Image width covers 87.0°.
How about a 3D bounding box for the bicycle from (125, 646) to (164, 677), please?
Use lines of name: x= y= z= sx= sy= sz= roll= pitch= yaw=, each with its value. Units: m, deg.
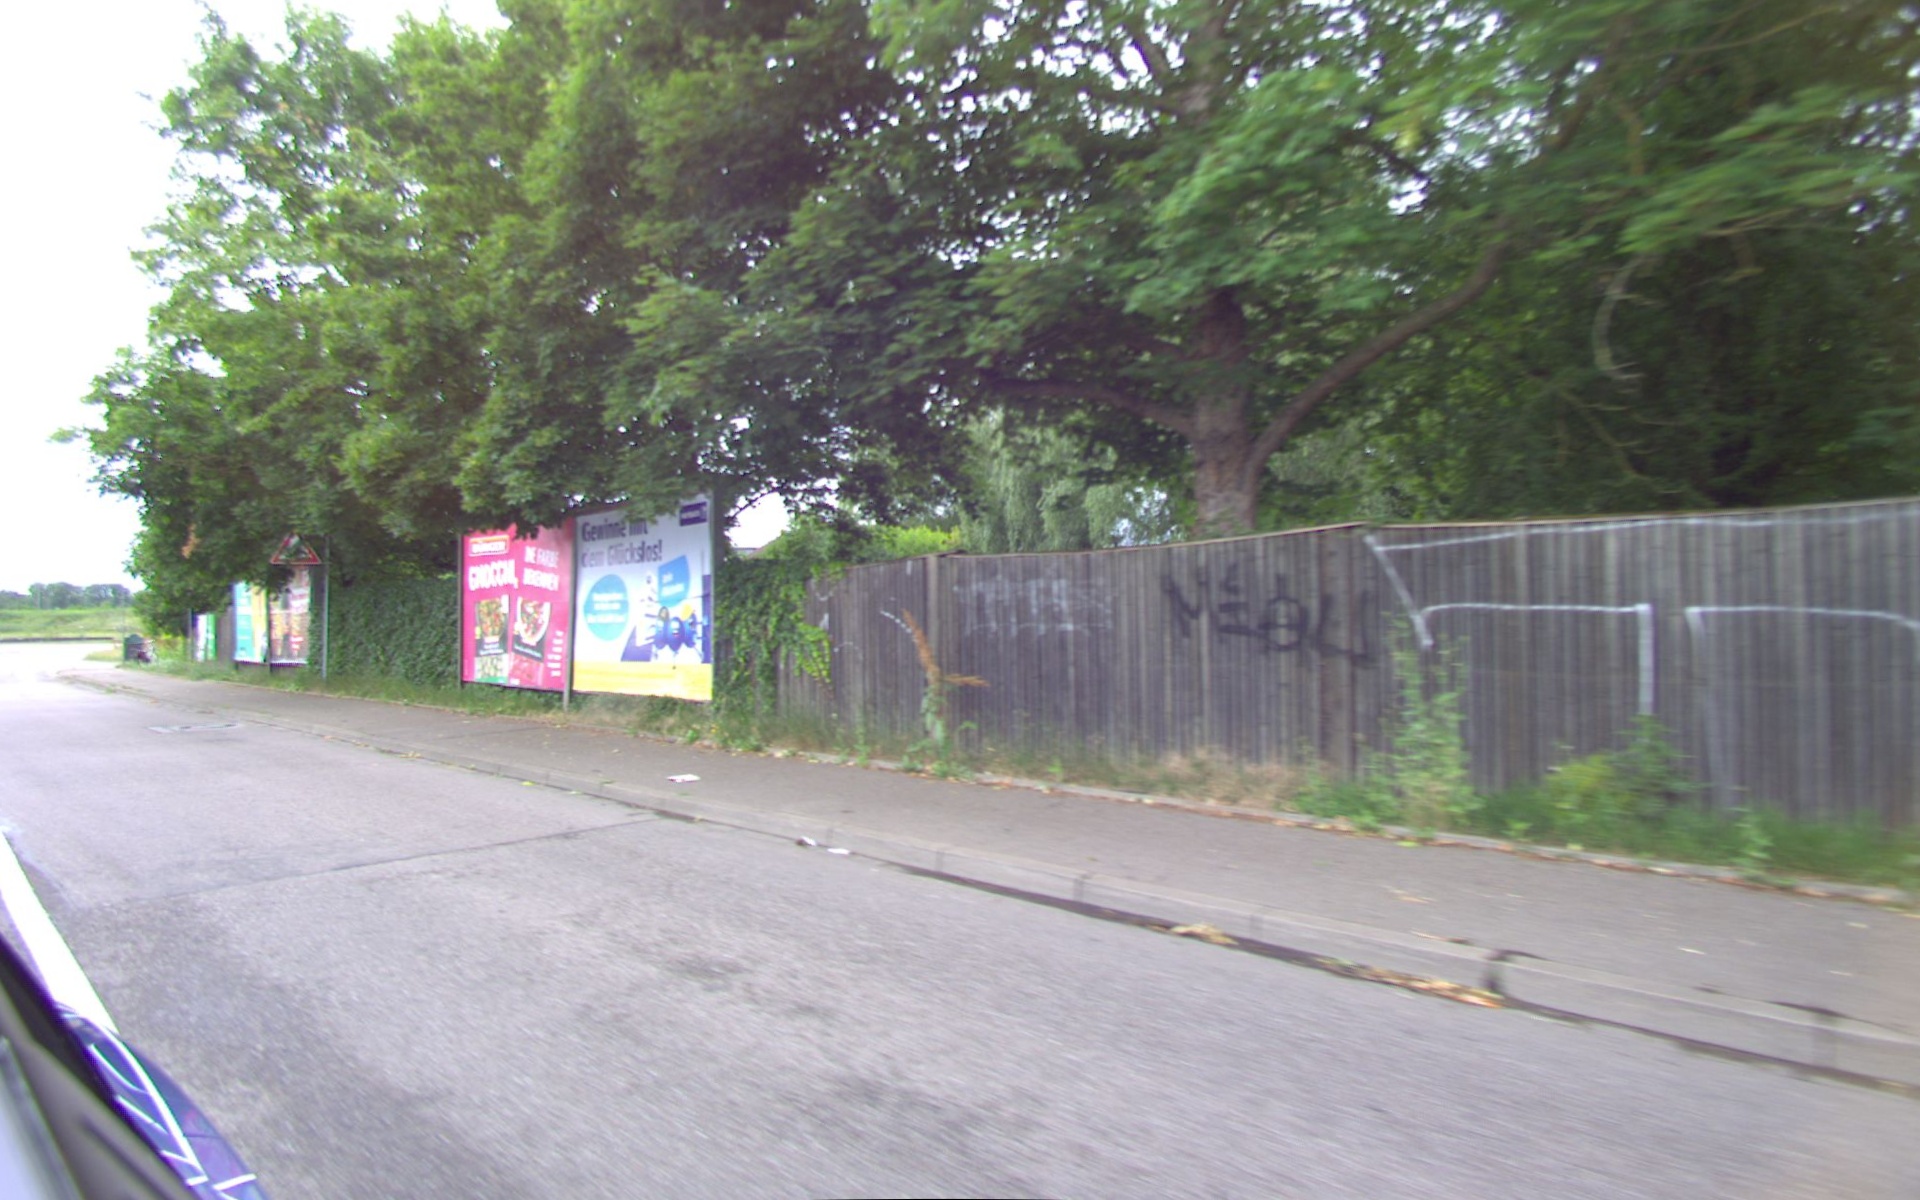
bicycle: x=-29.747 y=2.223 z=36.932 sx=0.574 sy=1.006 sz=1.776 roll=-3 pitch=0 yaw=-21
